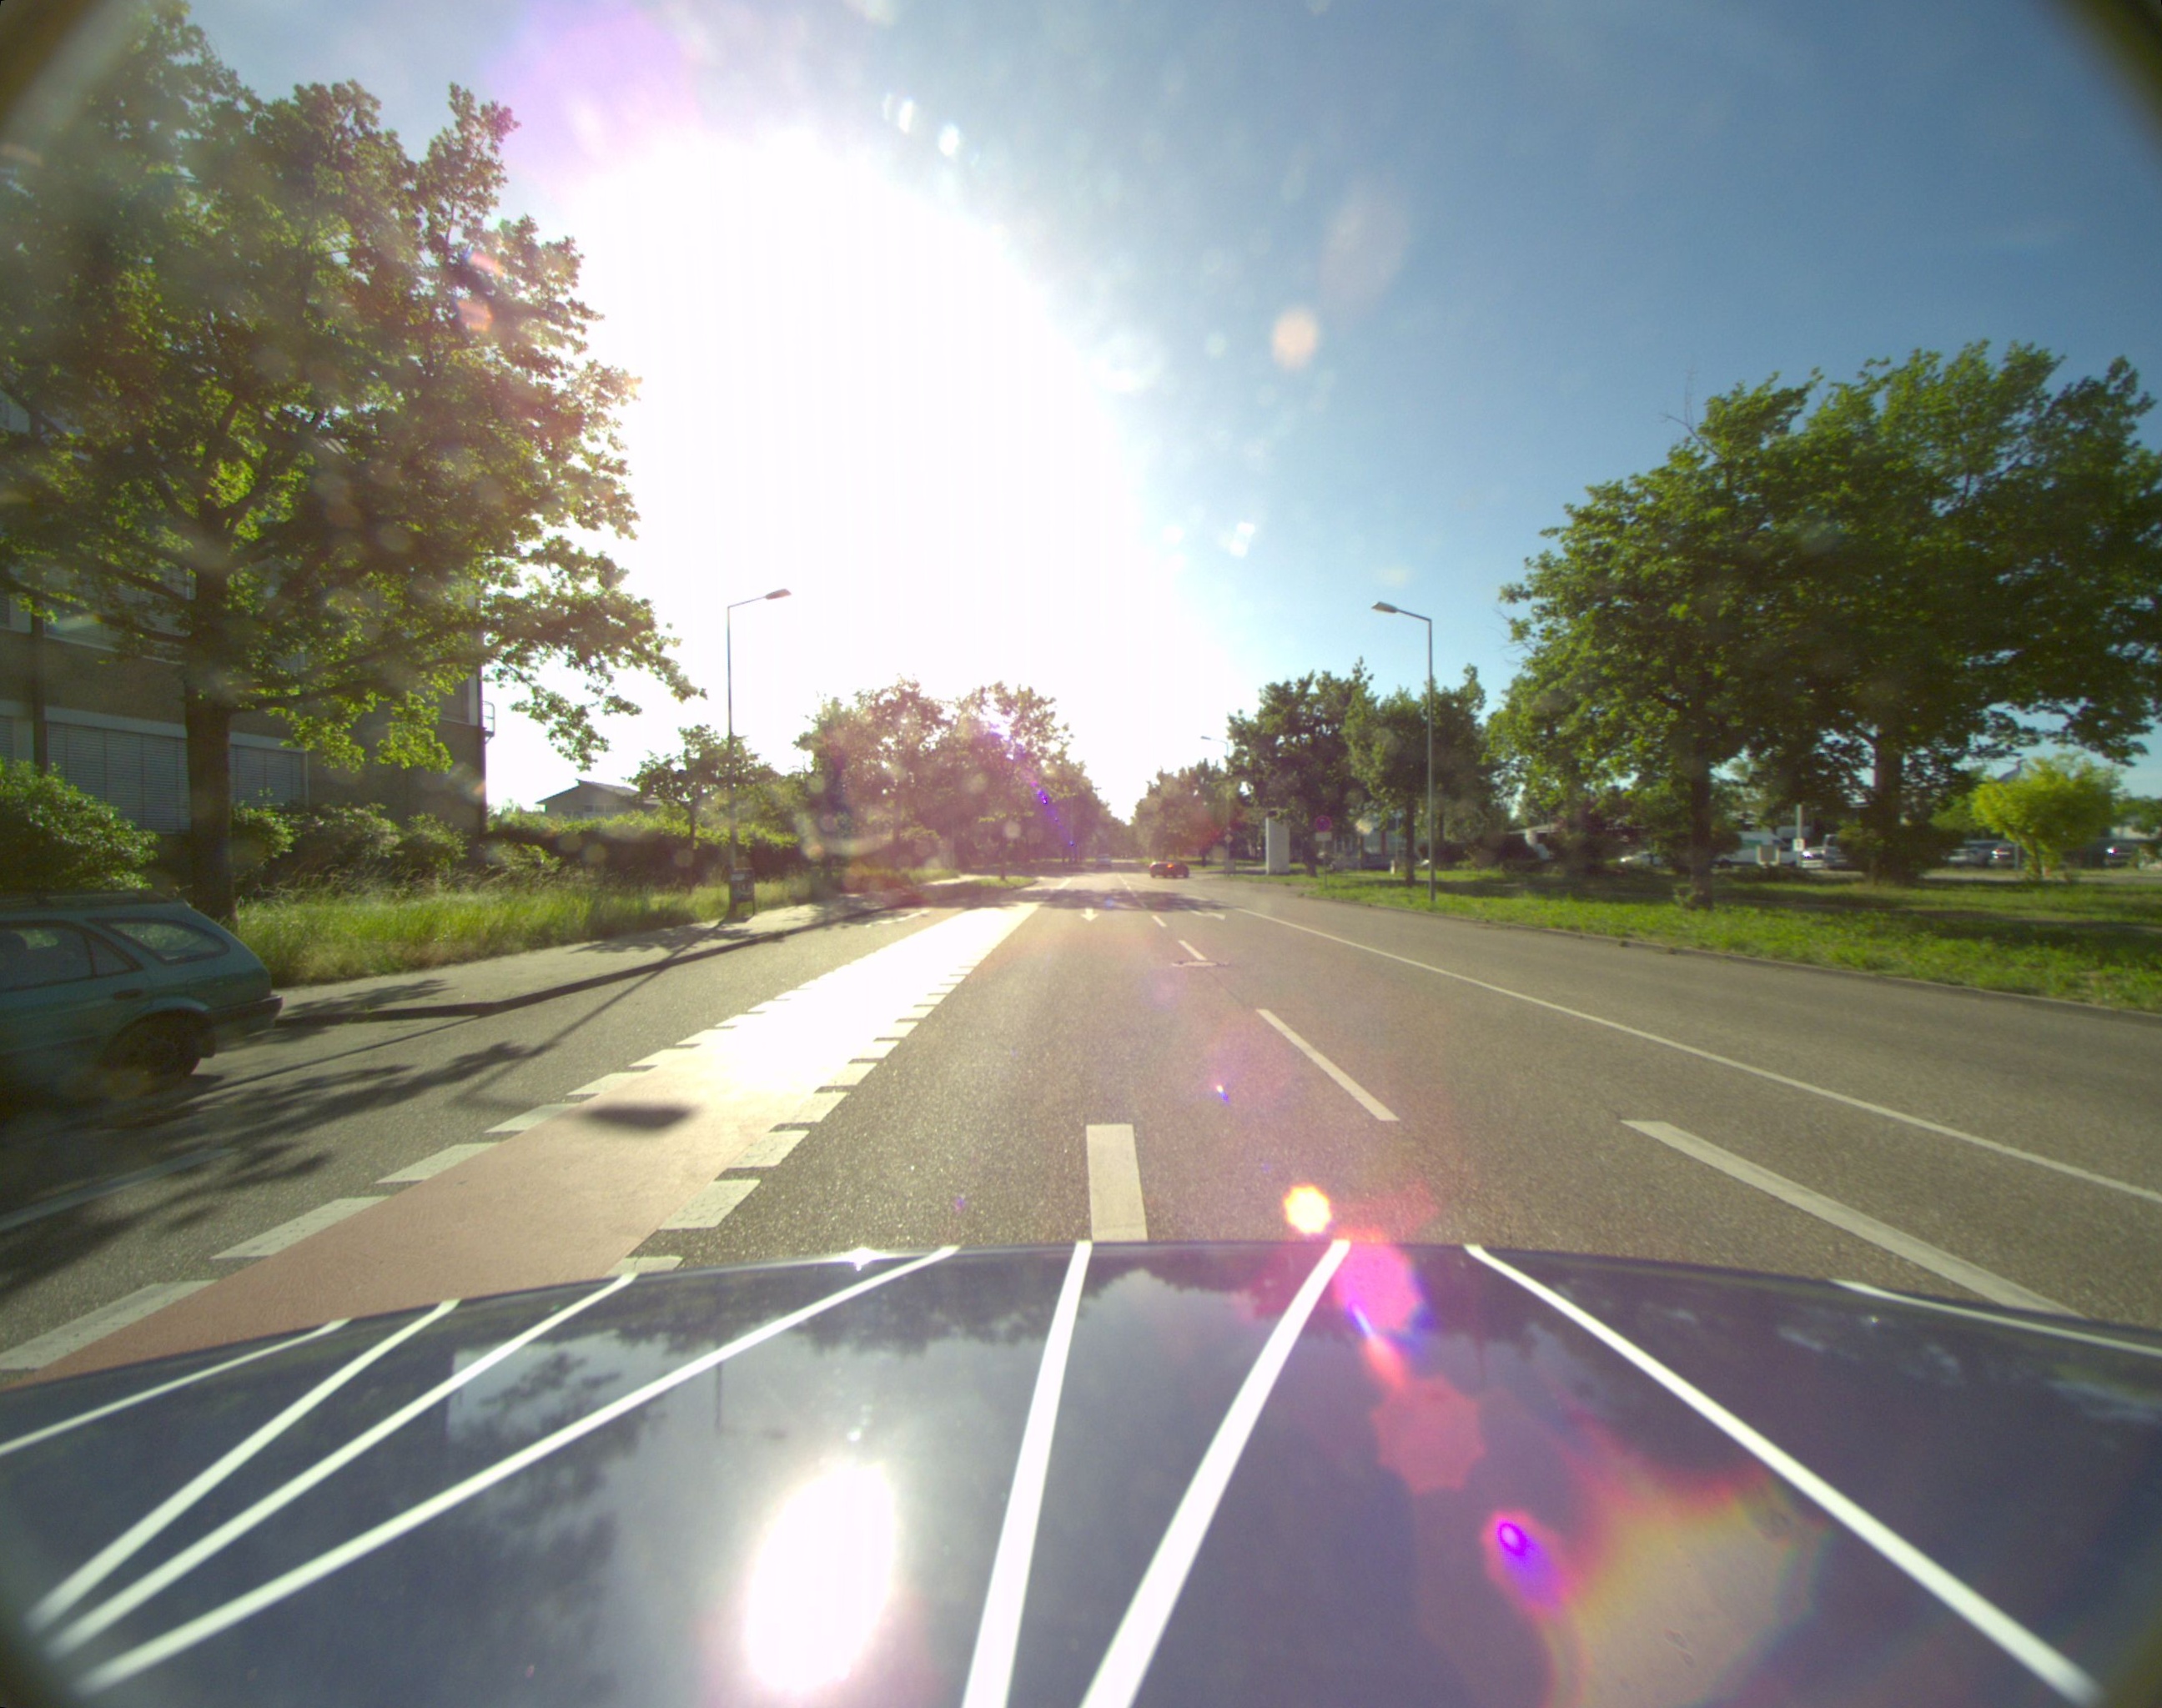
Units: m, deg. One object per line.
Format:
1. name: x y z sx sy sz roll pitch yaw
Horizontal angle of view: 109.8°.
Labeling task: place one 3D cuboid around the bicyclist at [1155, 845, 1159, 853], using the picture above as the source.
1. bicyclist: 15.196 -1.014 152.599 0.665 1.620 0.659 -2 2 3

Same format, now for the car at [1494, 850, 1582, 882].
1. car: 39.915 1.030 66.425 6.356 2.501 2.300 -2 1 -3

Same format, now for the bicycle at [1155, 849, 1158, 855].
1. bicycle: 15.198 -0.426 152.567 0.552 1.155 2.334 -2 1 3

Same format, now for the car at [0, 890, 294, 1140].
1. car: -7.463 1.052 4.288 1.596 1.420 4.203 1 1 2

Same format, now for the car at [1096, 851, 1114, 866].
1. car: 2.656 0.505 85.004 1.827 1.477 3.999 -2 1 1

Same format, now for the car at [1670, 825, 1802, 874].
1. car: 39.734 -0.275 46.172 6.176 2.687 2.300 -2 1 -3

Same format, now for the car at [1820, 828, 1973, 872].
1. car: 40.799 -0.201 38.118 5.424 2.058 2.300 -1 1 -3

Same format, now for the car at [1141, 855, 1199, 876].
1. car: 6.247 0.809 53.026 1.994 1.395 4.598 2 0 35

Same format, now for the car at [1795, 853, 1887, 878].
1. car: 41.173 0.603 41.211 3.532 1.294 1.574 -1 1 -2

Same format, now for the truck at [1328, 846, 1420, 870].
1. truck: 25.205 0.343 65.425 7.130 2.038 2.140 0 1 -2
